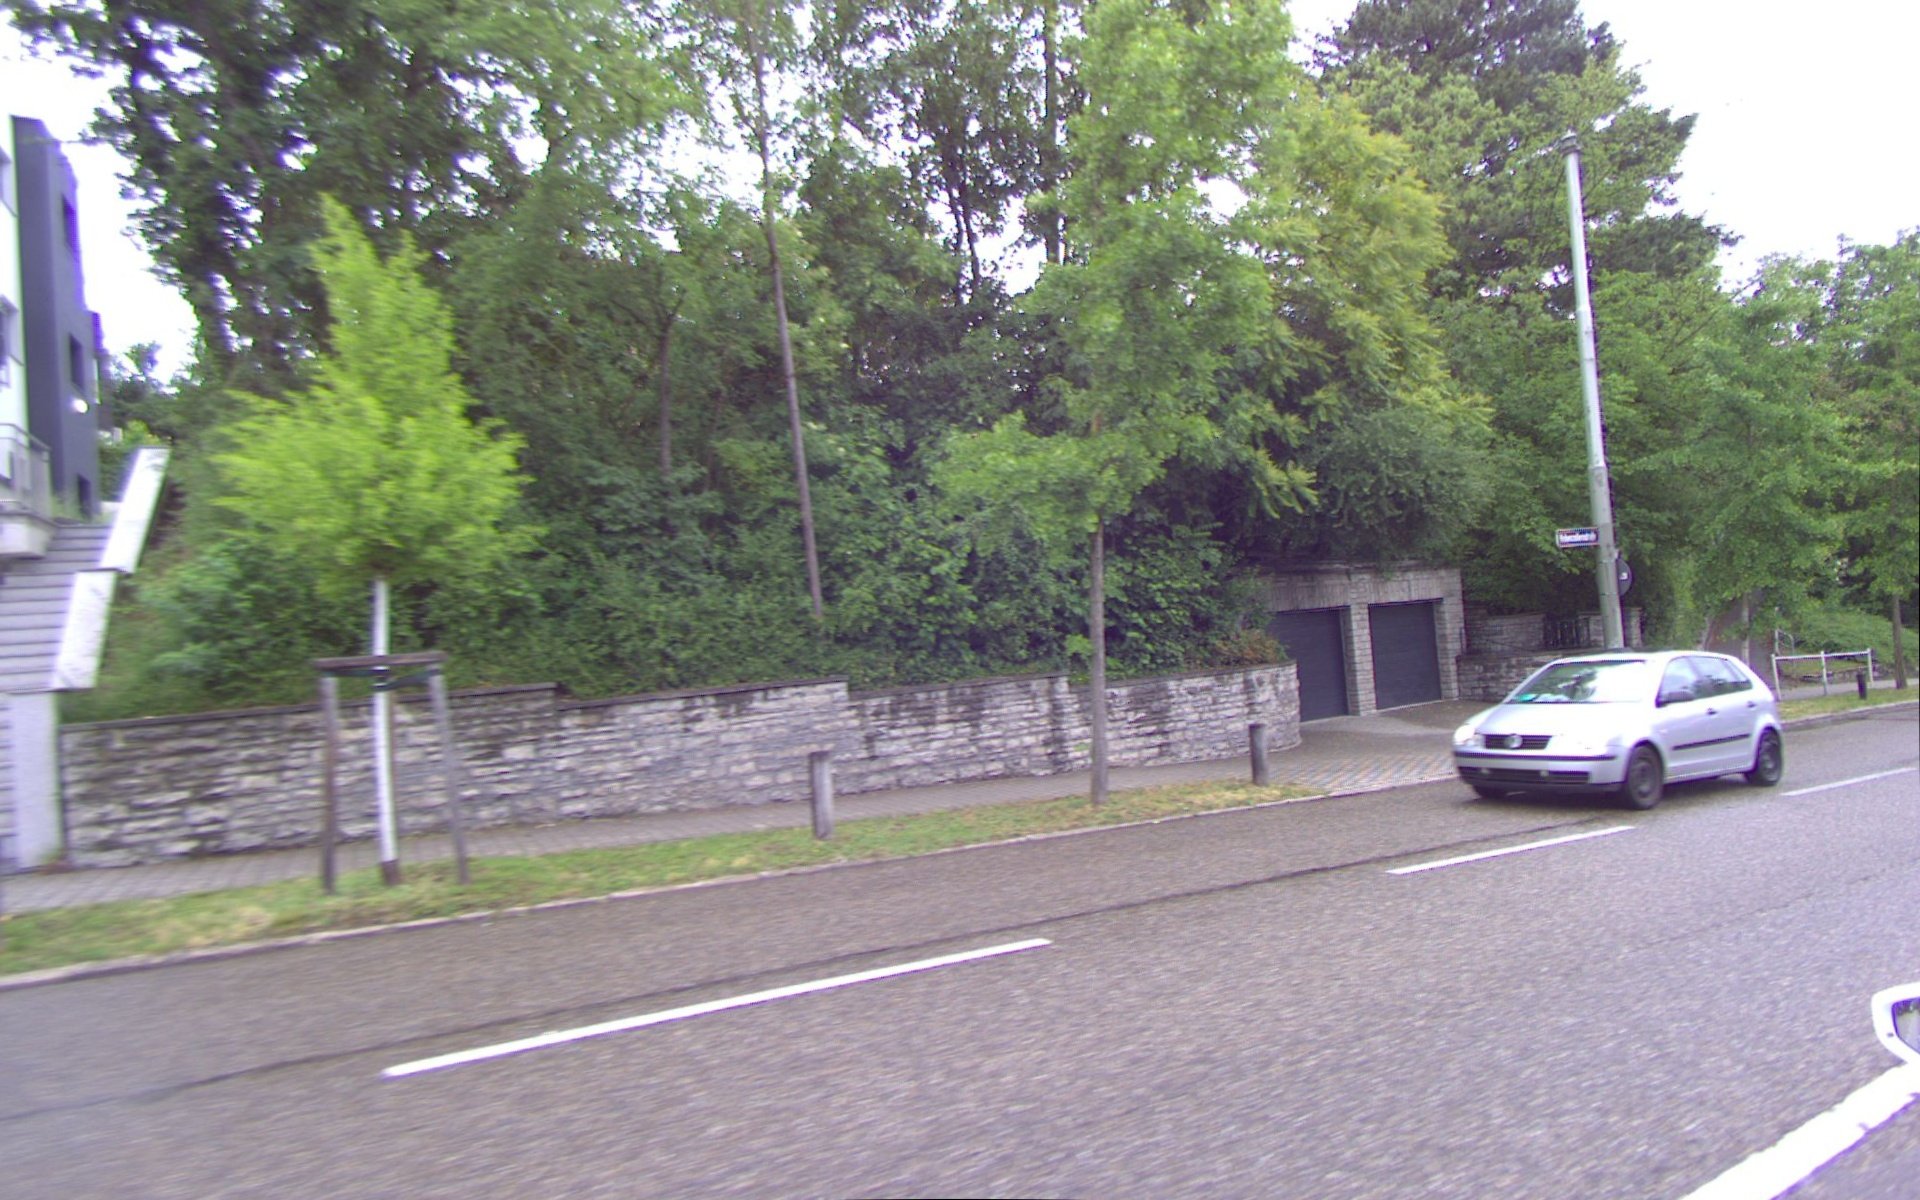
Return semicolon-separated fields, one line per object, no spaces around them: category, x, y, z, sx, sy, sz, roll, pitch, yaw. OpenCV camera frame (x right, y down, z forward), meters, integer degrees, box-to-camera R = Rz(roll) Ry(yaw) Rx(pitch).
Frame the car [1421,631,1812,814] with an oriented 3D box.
car;6.832;1.169;10.425;3.754;1.505;1.759;0;-5;-29
